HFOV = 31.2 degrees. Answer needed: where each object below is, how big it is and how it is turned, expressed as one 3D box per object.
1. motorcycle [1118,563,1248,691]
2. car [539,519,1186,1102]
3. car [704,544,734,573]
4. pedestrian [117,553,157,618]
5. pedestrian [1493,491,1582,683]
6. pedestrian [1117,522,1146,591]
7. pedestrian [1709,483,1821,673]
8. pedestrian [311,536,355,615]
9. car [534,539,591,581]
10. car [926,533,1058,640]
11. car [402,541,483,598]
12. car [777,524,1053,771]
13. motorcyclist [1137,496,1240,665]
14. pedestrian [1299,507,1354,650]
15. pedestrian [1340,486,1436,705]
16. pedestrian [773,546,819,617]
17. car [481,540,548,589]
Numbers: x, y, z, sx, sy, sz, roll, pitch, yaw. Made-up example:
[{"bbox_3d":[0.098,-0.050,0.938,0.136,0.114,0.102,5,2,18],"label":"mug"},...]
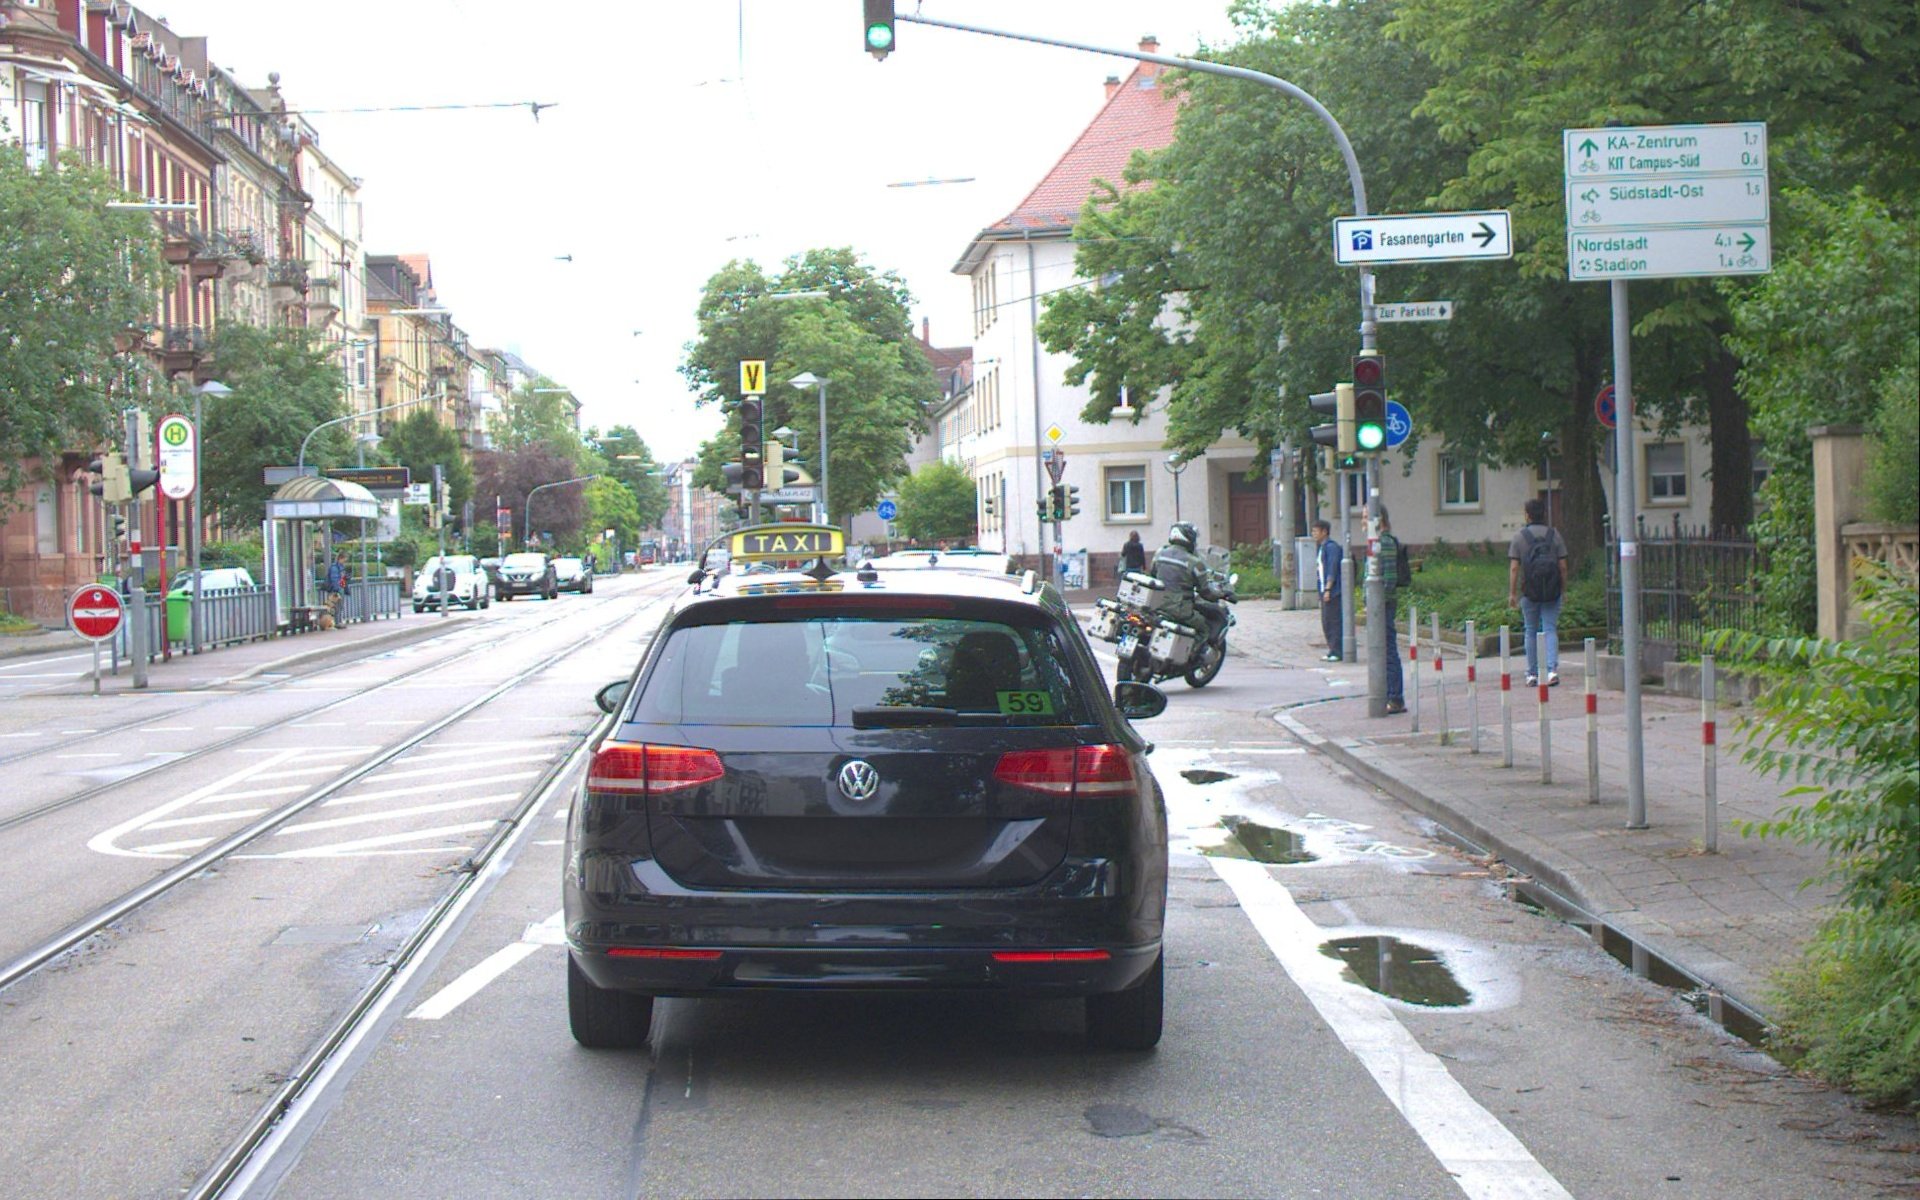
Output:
[{"bbox_3d":[2.287,0.262,35.039,0.447,1.231,1.903,-1,1,32],"label":"motorcycle"},{"bbox_3d":[-0.371,0.528,11.318,1.723,1.541,4.001,-1,1,-3],"label":"car"},{"bbox_3d":[-16.960,-2.910,241.776,2.032,2.007,4.000,-1,0,-3],"label":"car"},{"bbox_3d":[-19.483,-0.353,81.433,0.589,1.515,0.648,-1,1,32],"label":"pedestrian"},{"bbox_3d":[5.529,-0.129,32.949,0.632,1.808,0.726,-2,1,-5],"label":"pedestrian"},{"bbox_3d":[3.919,-0.994,78.648,0.581,1.548,0.609,-1,1,-1],"label":"pedestrian"},{"bbox_3d":[7.873,-0.214,33.643,0.651,1.824,0.800,-3,1,-44],"label":"pedestrian"},{"bbox_3d":[-12.336,-0.485,67.654,0.714,1.515,0.590,-2,1,-1],"label":"pedestrian"},{"bbox_3d":[-15.694,-1.586,135.934,1.795,1.590,4.000,-2,1,-1],"label":"car"},{"bbox_3d":[0.453,-0.243,52.544,1.723,1.541,4.001,-1,1,-3],"label":"car"},{"bbox_3d":[-15.255,-0.926,101.520,1.795,1.590,4.000,-2,1,-1],"label":"car"},{"bbox_3d":[-0.389,0.265,23.930,1.723,1.541,4.001,-1,1,-3],"label":"car"},{"bbox_3d":[2.338,-0.201,35.139,0.704,1.686,0.803,-1,1,31],"label":"motorcyclist"},{"bbox_3d":[4.781,-0.283,44.843,0.514,1.824,0.418,-5,1,-2],"label":"pedestrian"},{"bbox_3d":[3.680,-0.040,29.583,0.585,1.824,0.604,-5,1,-2],"label":"pedestrian"},{"bbox_3d":[-3.059,-0.351,64.042,0.823,1.300,0.569,-2,1,-4],"label":"pedestrian"},{"bbox_3d":[-15.261,-1.222,117.905,1.795,1.590,4.000,-2,1,-1],"label":"car"}]
